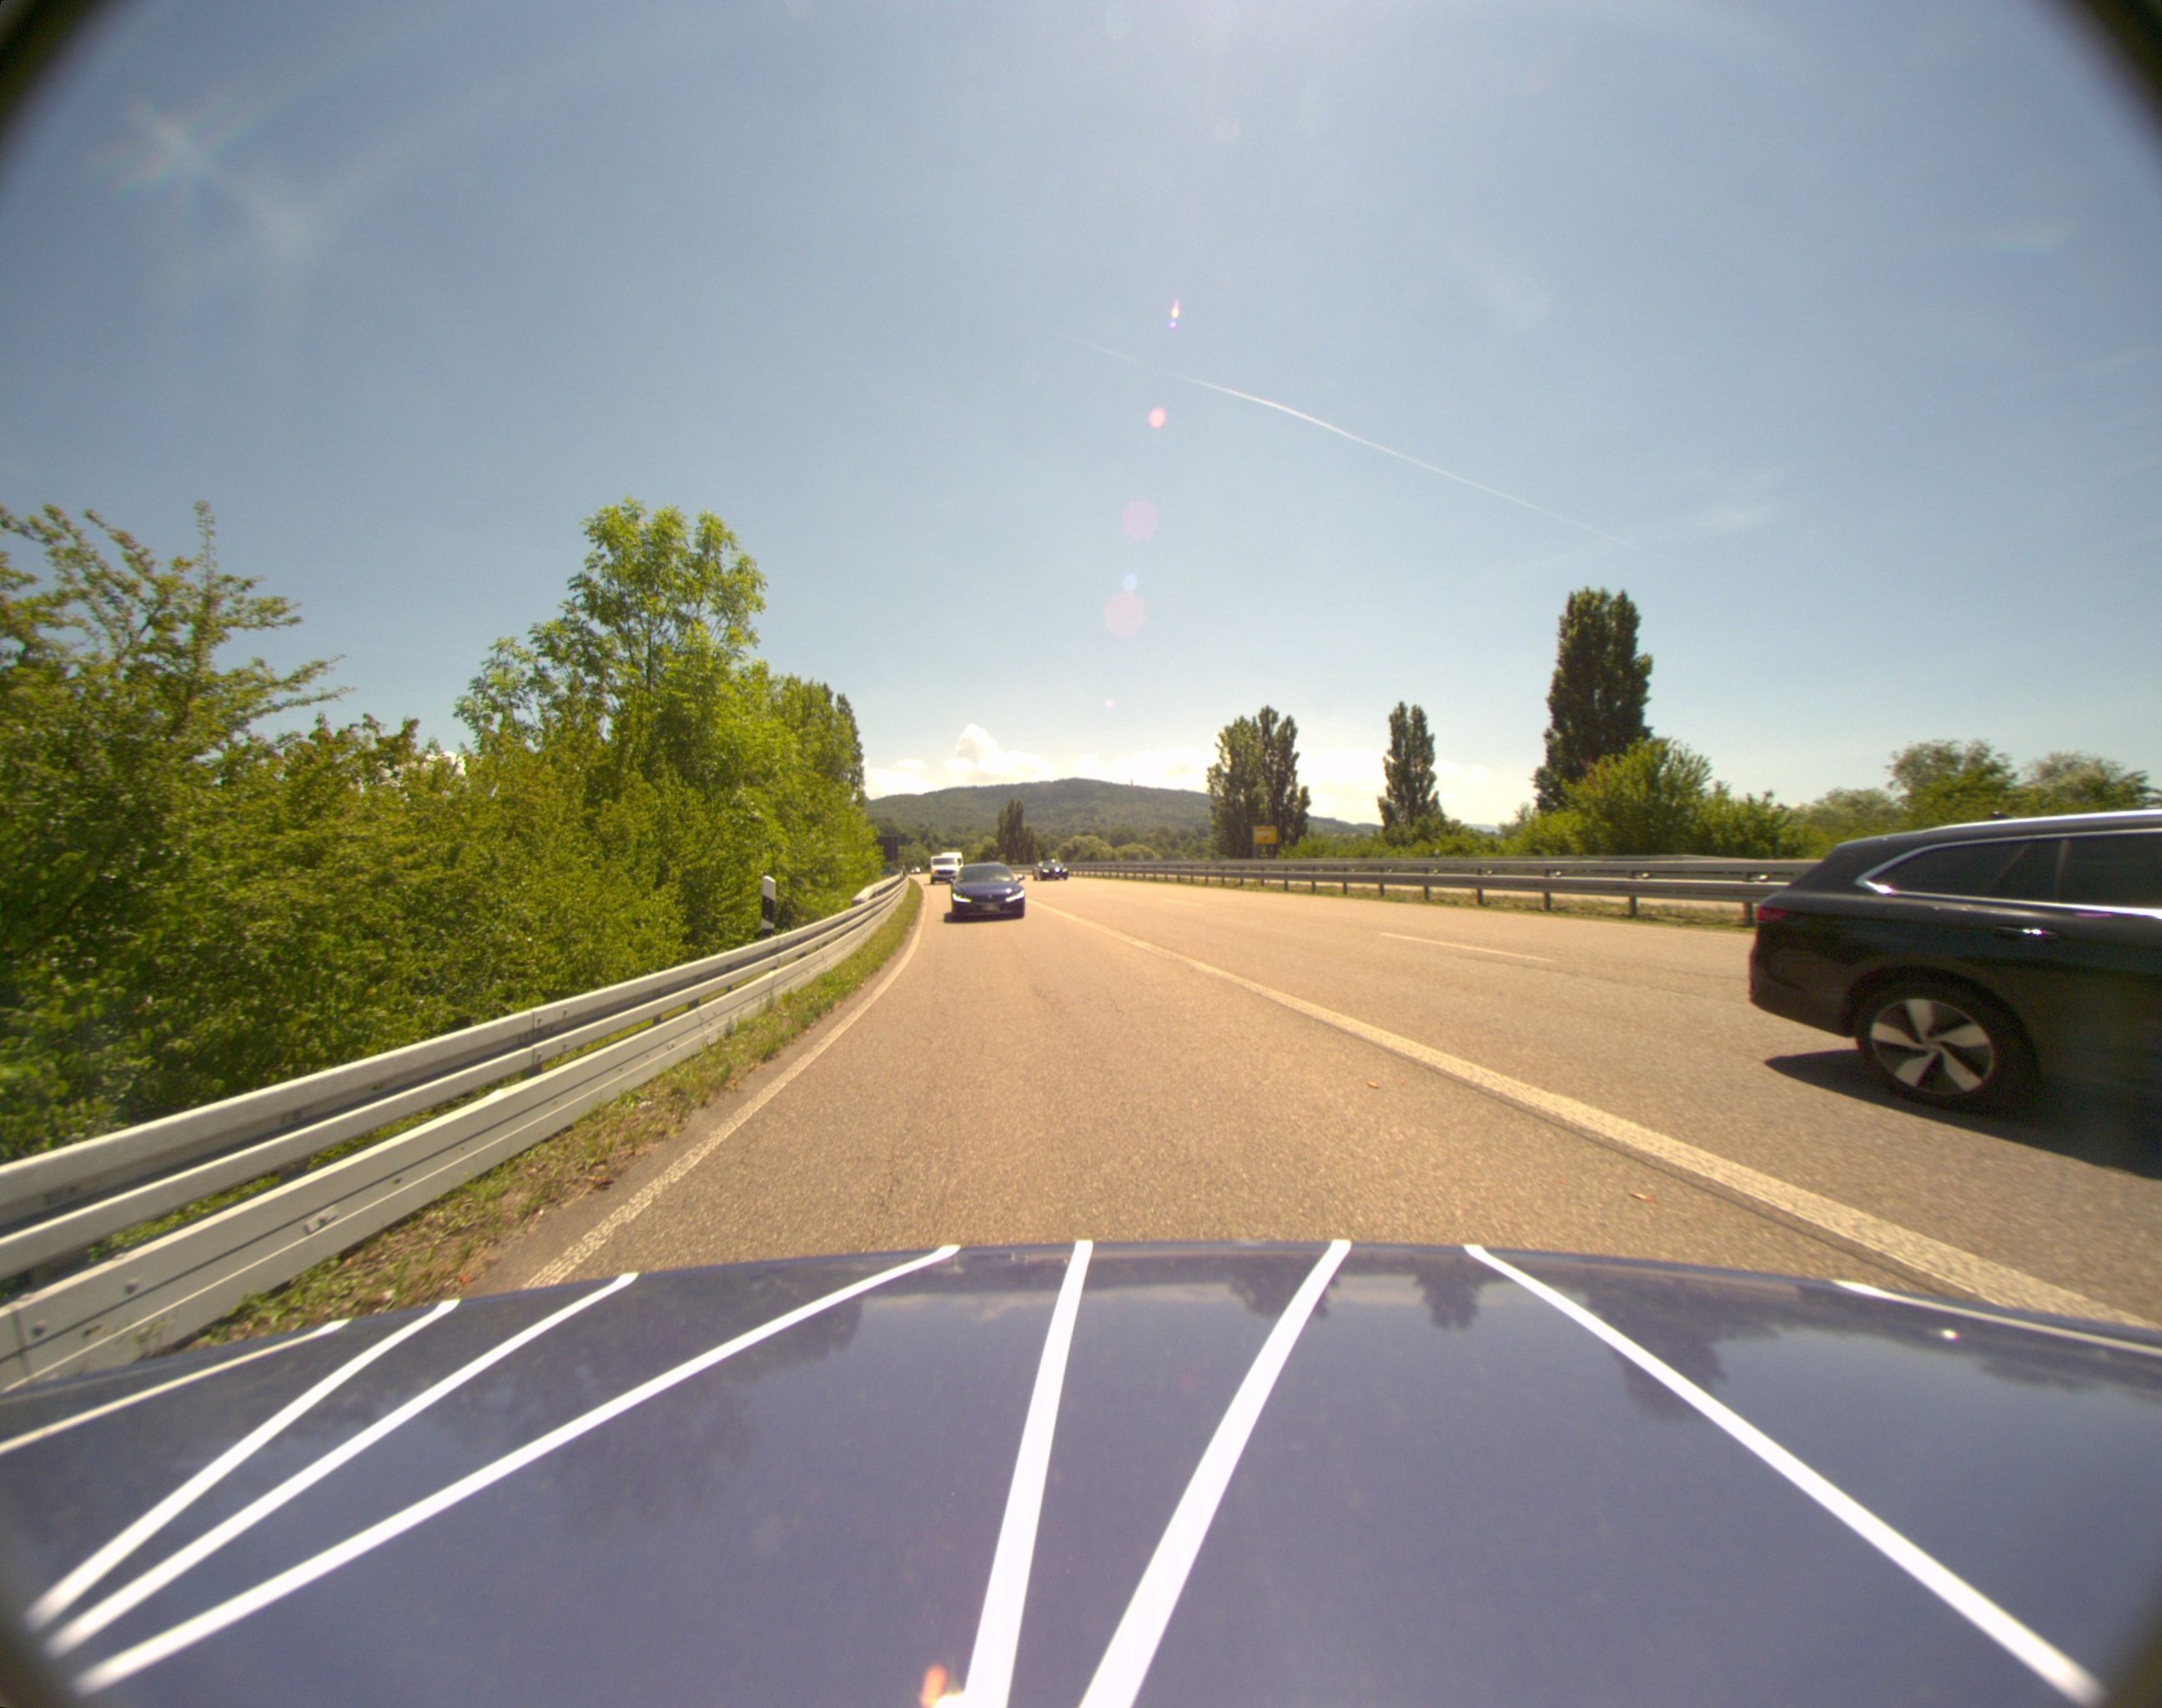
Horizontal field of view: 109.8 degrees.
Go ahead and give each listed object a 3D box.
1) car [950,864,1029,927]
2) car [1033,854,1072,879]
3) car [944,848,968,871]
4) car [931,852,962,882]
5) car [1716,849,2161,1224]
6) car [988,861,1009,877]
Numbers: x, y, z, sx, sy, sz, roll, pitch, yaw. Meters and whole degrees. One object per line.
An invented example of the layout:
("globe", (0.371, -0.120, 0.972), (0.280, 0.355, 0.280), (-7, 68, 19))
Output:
("car", (-2.424, 1.040, 20.660), (1.844, 1.422, 4.531), (-2, 0, -5))
("car", (-2.043, 0.859, 53.355), (2.000, 1.564, 4.640), (-3, 0, -10))
("car", (-11.714, 0.502, 71.100), (2.000, 1.939, 4.640), (-3, 0, -10))
("car", (-9.520, 0.884, 53.799), (2.000, 1.939, 4.640), (-3, 0, -10))
("car", (5.435, 0.731, 2.539), (1.891, 1.472, 5.000), (-2, 0, -11))
("car", (-8.962, 1.630, 82.534), (1.832, 1.602, 3.997), (-4, 0, -10))
